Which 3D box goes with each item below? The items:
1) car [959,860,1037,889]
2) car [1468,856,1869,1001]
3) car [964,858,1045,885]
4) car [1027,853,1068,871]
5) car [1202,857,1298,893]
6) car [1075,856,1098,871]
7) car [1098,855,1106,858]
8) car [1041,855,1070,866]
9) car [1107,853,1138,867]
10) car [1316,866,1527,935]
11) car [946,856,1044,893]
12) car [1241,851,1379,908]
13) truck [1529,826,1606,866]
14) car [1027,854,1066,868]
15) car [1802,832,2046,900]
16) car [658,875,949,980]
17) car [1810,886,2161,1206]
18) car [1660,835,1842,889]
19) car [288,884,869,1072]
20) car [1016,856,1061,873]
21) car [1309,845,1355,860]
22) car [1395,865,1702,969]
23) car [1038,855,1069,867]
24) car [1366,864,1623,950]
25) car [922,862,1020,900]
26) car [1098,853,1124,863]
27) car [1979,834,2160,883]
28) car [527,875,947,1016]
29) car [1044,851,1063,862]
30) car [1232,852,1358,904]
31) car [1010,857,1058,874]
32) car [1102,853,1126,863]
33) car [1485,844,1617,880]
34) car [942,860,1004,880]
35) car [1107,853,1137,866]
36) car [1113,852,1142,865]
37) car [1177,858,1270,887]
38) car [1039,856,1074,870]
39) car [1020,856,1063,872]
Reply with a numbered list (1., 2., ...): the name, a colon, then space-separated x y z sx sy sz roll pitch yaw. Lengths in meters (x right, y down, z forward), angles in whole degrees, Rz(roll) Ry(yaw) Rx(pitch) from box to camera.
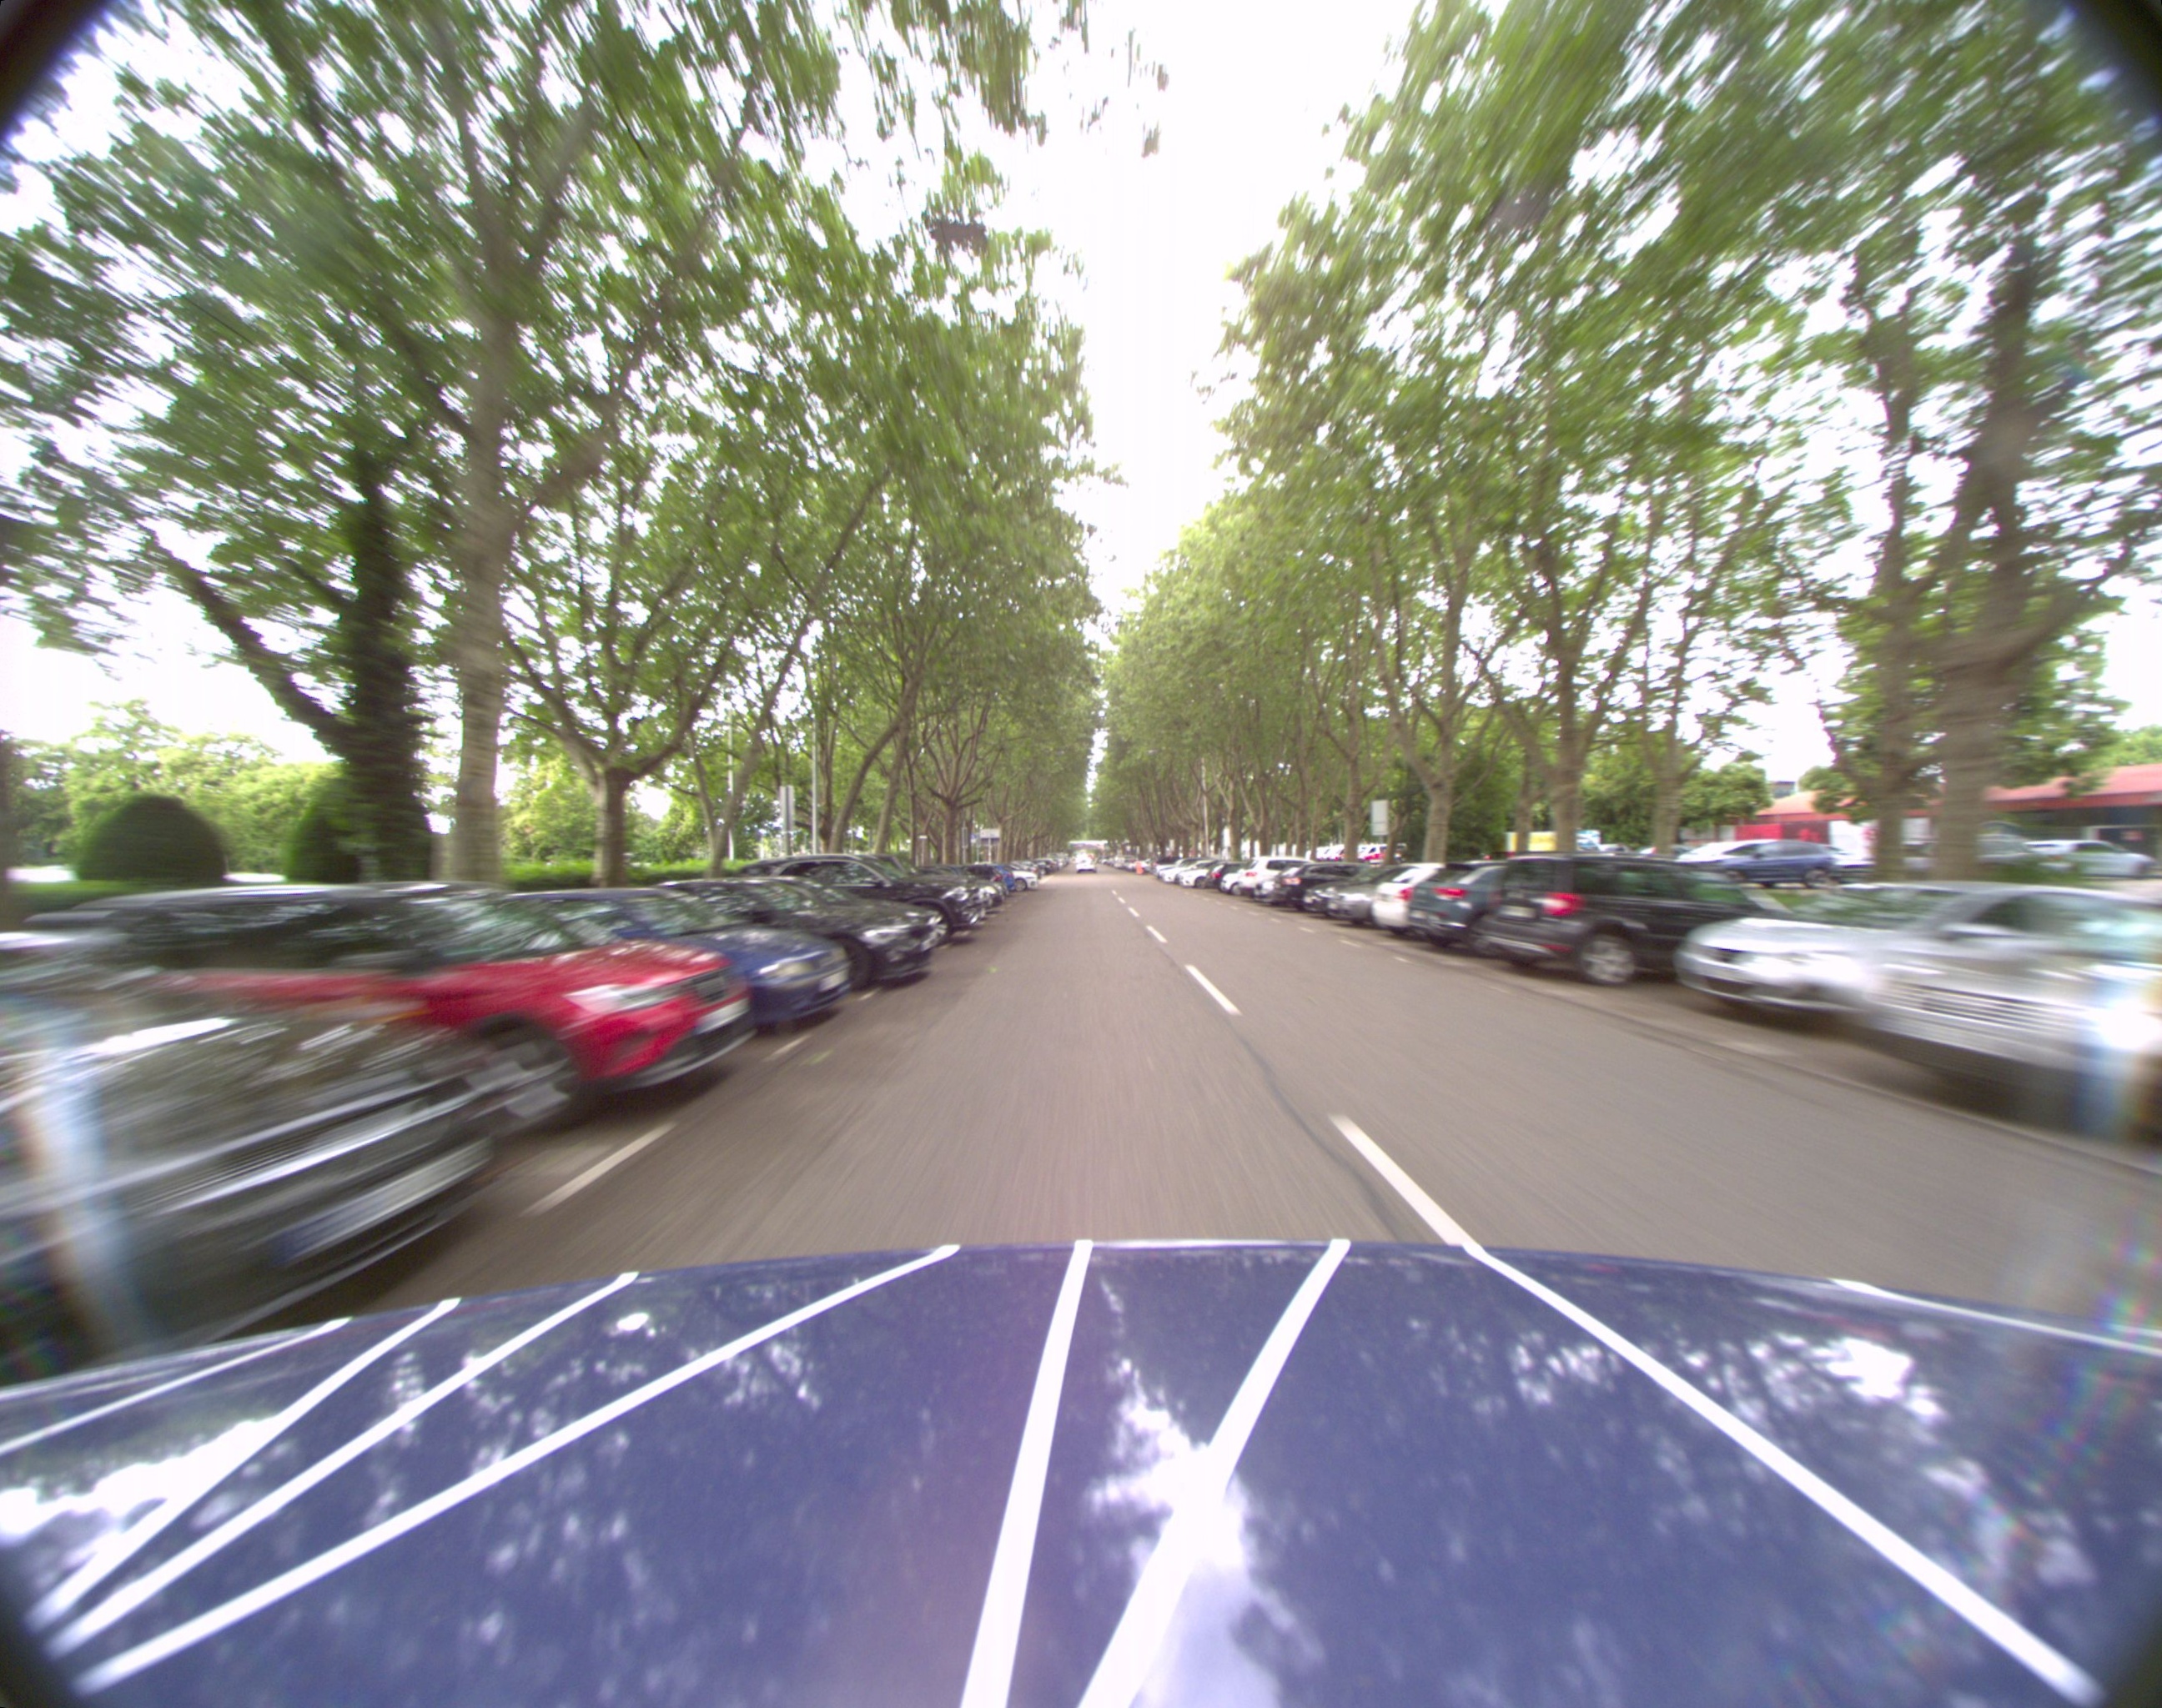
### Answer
1. car: -4.332 1.073 40.150 3.840 1.409 1.718 -2 0 1
2. car: 7.516 0.903 10.013 3.941 1.698 1.752 1 0 -1
3. car: -4.521 1.043 45.289 4.598 1.409 1.719 -2 0 3
4. car: -4.069 0.930 92.189 4.674 1.891 2.001 -3 0 5
5. car: 7.656 0.929 34.695 3.996 1.445 1.855 -2 1 1
6. car: 0.496 0.896 73.610 1.999 1.375 4.678 -3 0 -2
7. car: 6.215 0.821 225.472 2.307 0.918 1.132 -2 -2 -1
8. car: -4.393 1.128 132.263 4.674 1.740 2.001 -3 0 5
9. car: 6.148 0.877 112.406 4.491 1.740 2.001 -3 0 5
10. car: 7.618 1.022 17.241 4.004 1.412 1.703 1 0 -1
11. car: -4.220 1.000 37.751 4.535 1.613 2.054 -2 0 1
12. car: 7.464 0.814 25.070 3.996 1.672 1.855 -2 1 1
13. truck: 35.059 -0.582 54.870 3.997 2.701 2.376 -2 1 -1
14. car: -4.424 0.900 97.125 4.674 1.602 2.001 -3 0 5
15. car: 23.046 0.325 20.904 4.565 1.710 1.999 1 0 -2
16. car: -4.333 1.139 12.276 3.993 1.382 1.739 -2 0 2
17. car: 7.401 0.987 4.548 4.475 1.473 1.703 1 0 -1
18. car: 23.046 0.274 26.249 4.565 1.710 1.999 1 0 -2
19. car: -4.643 1.122 7.512 4.506 1.411 1.829 -2 0 2
20. car: -4.725 1.168 84.939 4.673 1.514 2.001 -3 0 6
21. car: 34.412 -0.225 104.197 5.467 2.009 2.393 1 0 -2
22. car: 7.470 0.967 12.444 3.940 1.507 1.728 1 0 2
23. car: -4.369 1.114 121.406 4.674 1.740 2.001 -3 0 5
24. car: 7.826 0.967 14.680 4.001 1.477 1.704 1 0 5
25. car: -4.669 1.128 32.773 4.027 1.439 1.913 -2 0 -5
26. car: 6.090 0.737 154.655 4.919 1.817 2.000 -2 -2 -3
27. car: 34.706 0.140 26.766 4.030 1.542 1.999 -2 1 -4
28. car: -4.200 1.101 9.852 4.506 1.420 1.932 -2 0 1
29. car: -6.129 0.479 167.153 3.997 2.273 2.000 -2 1 0
30. car: 7.667 0.841 27.494 3.996 1.672 1.855 -2 1 1
31. car: -4.404 1.065 71.558 4.383 1.469 1.999 -2 1 -2
32. car: 6.976 0.902 162.511 4.919 1.817 2.000 -2 -2 -3
33. car: 23.550 0.377 38.202 5.362 1.587 2.094 -2 1 -1
34. car: -7.798 1.157 55.248 4.288 1.453 1.784 0 0 -2
35. car: 6.317 0.857 116.371 4.491 1.740 2.001 -3 0 5
36. car: 7.447 0.745 122.078 4.491 1.740 2.001 -3 0 5
37. car: 7.412 0.966 39.781 4.421 1.435 2.046 1 0 -6
38. car: -3.441 1.252 107.150 4.674 1.740 2.001 -3 0 5
39. car: -4.489 1.120 87.235 4.674 1.514 2.001 -3 0 5
